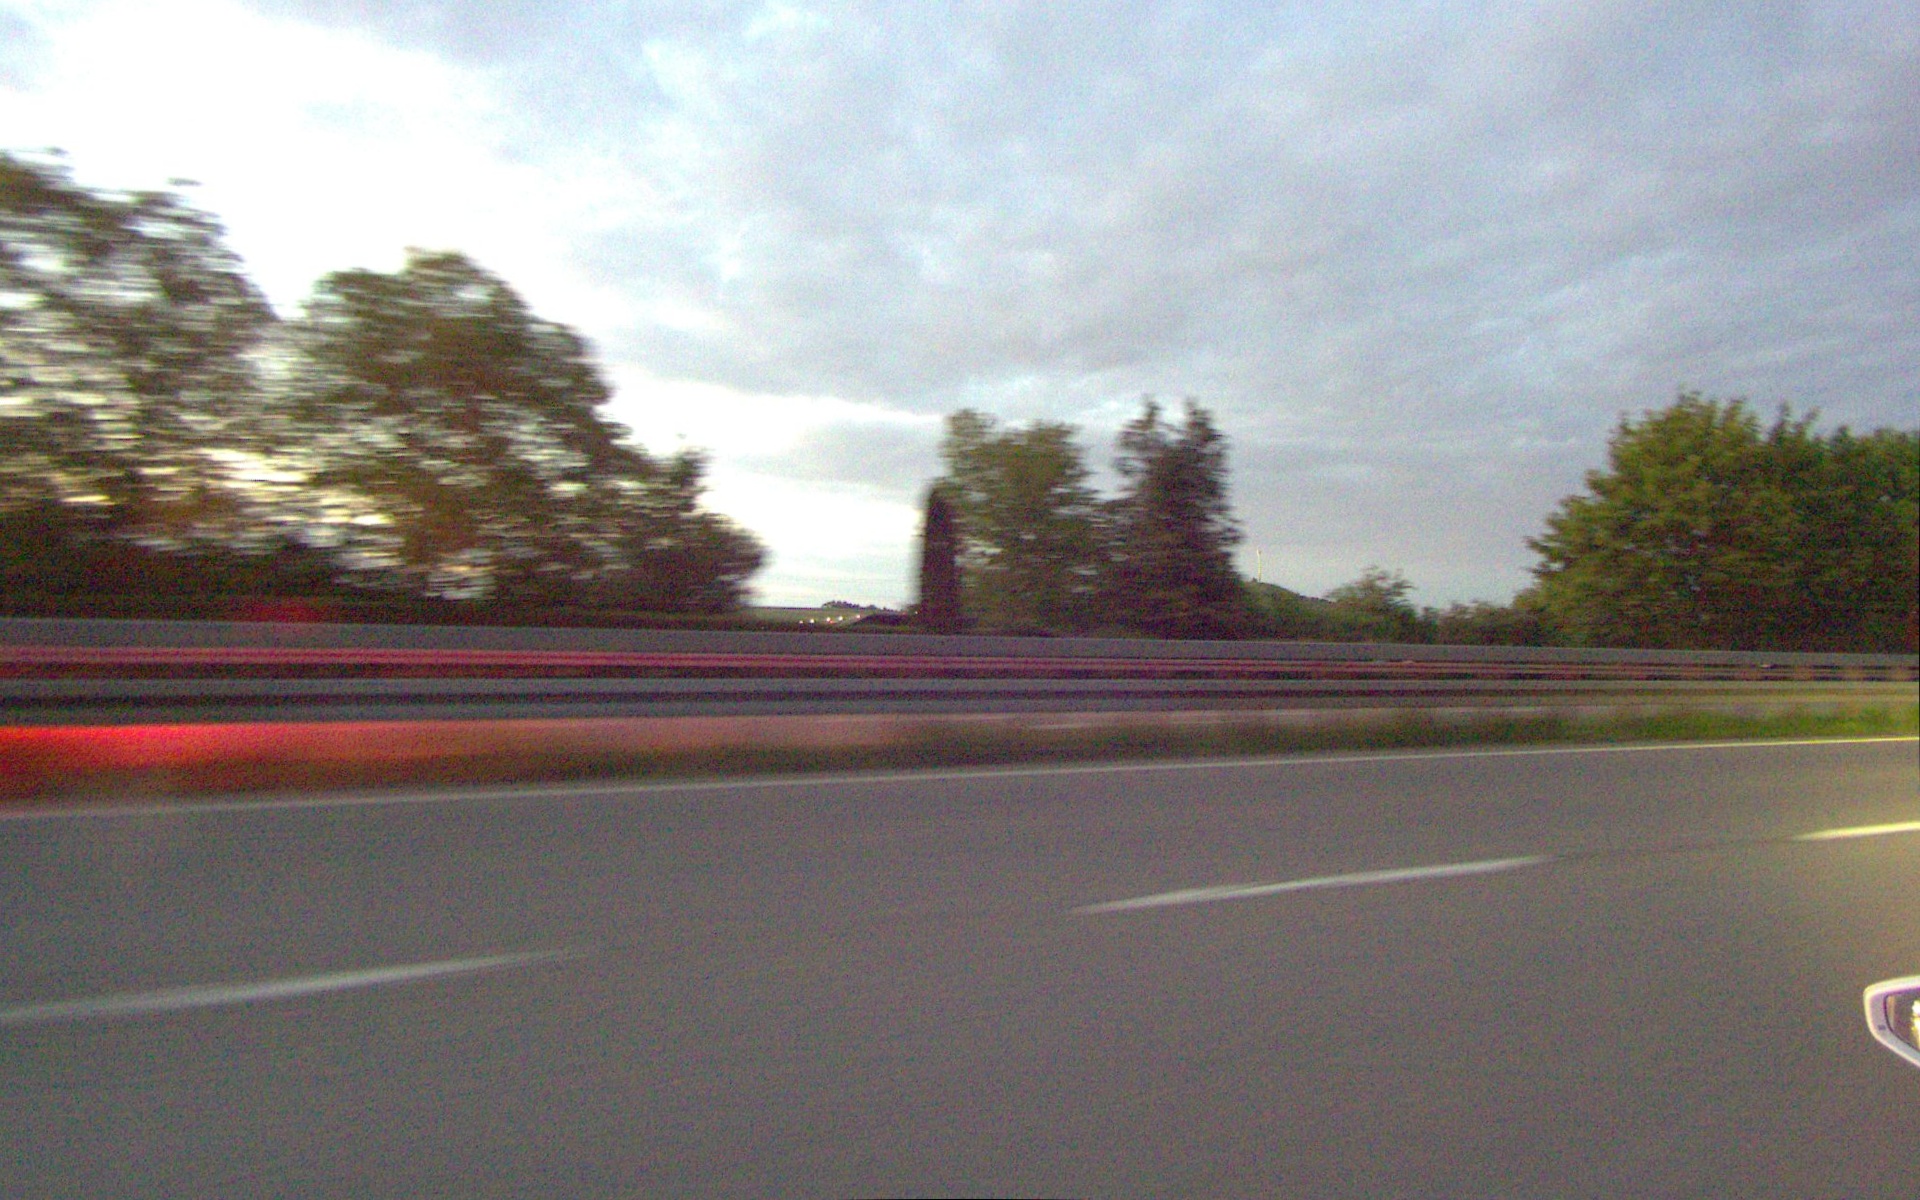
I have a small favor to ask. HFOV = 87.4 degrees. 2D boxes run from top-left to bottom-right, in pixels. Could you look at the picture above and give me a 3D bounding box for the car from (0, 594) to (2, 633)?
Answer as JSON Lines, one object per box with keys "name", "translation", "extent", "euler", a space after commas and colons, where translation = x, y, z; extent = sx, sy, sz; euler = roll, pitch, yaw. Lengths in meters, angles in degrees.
{"name": "car", "translation": [-11.379, 0.611, 8.134], "extent": [4.753, 1.590, 1.990], "euler": [2, -3, -23]}
